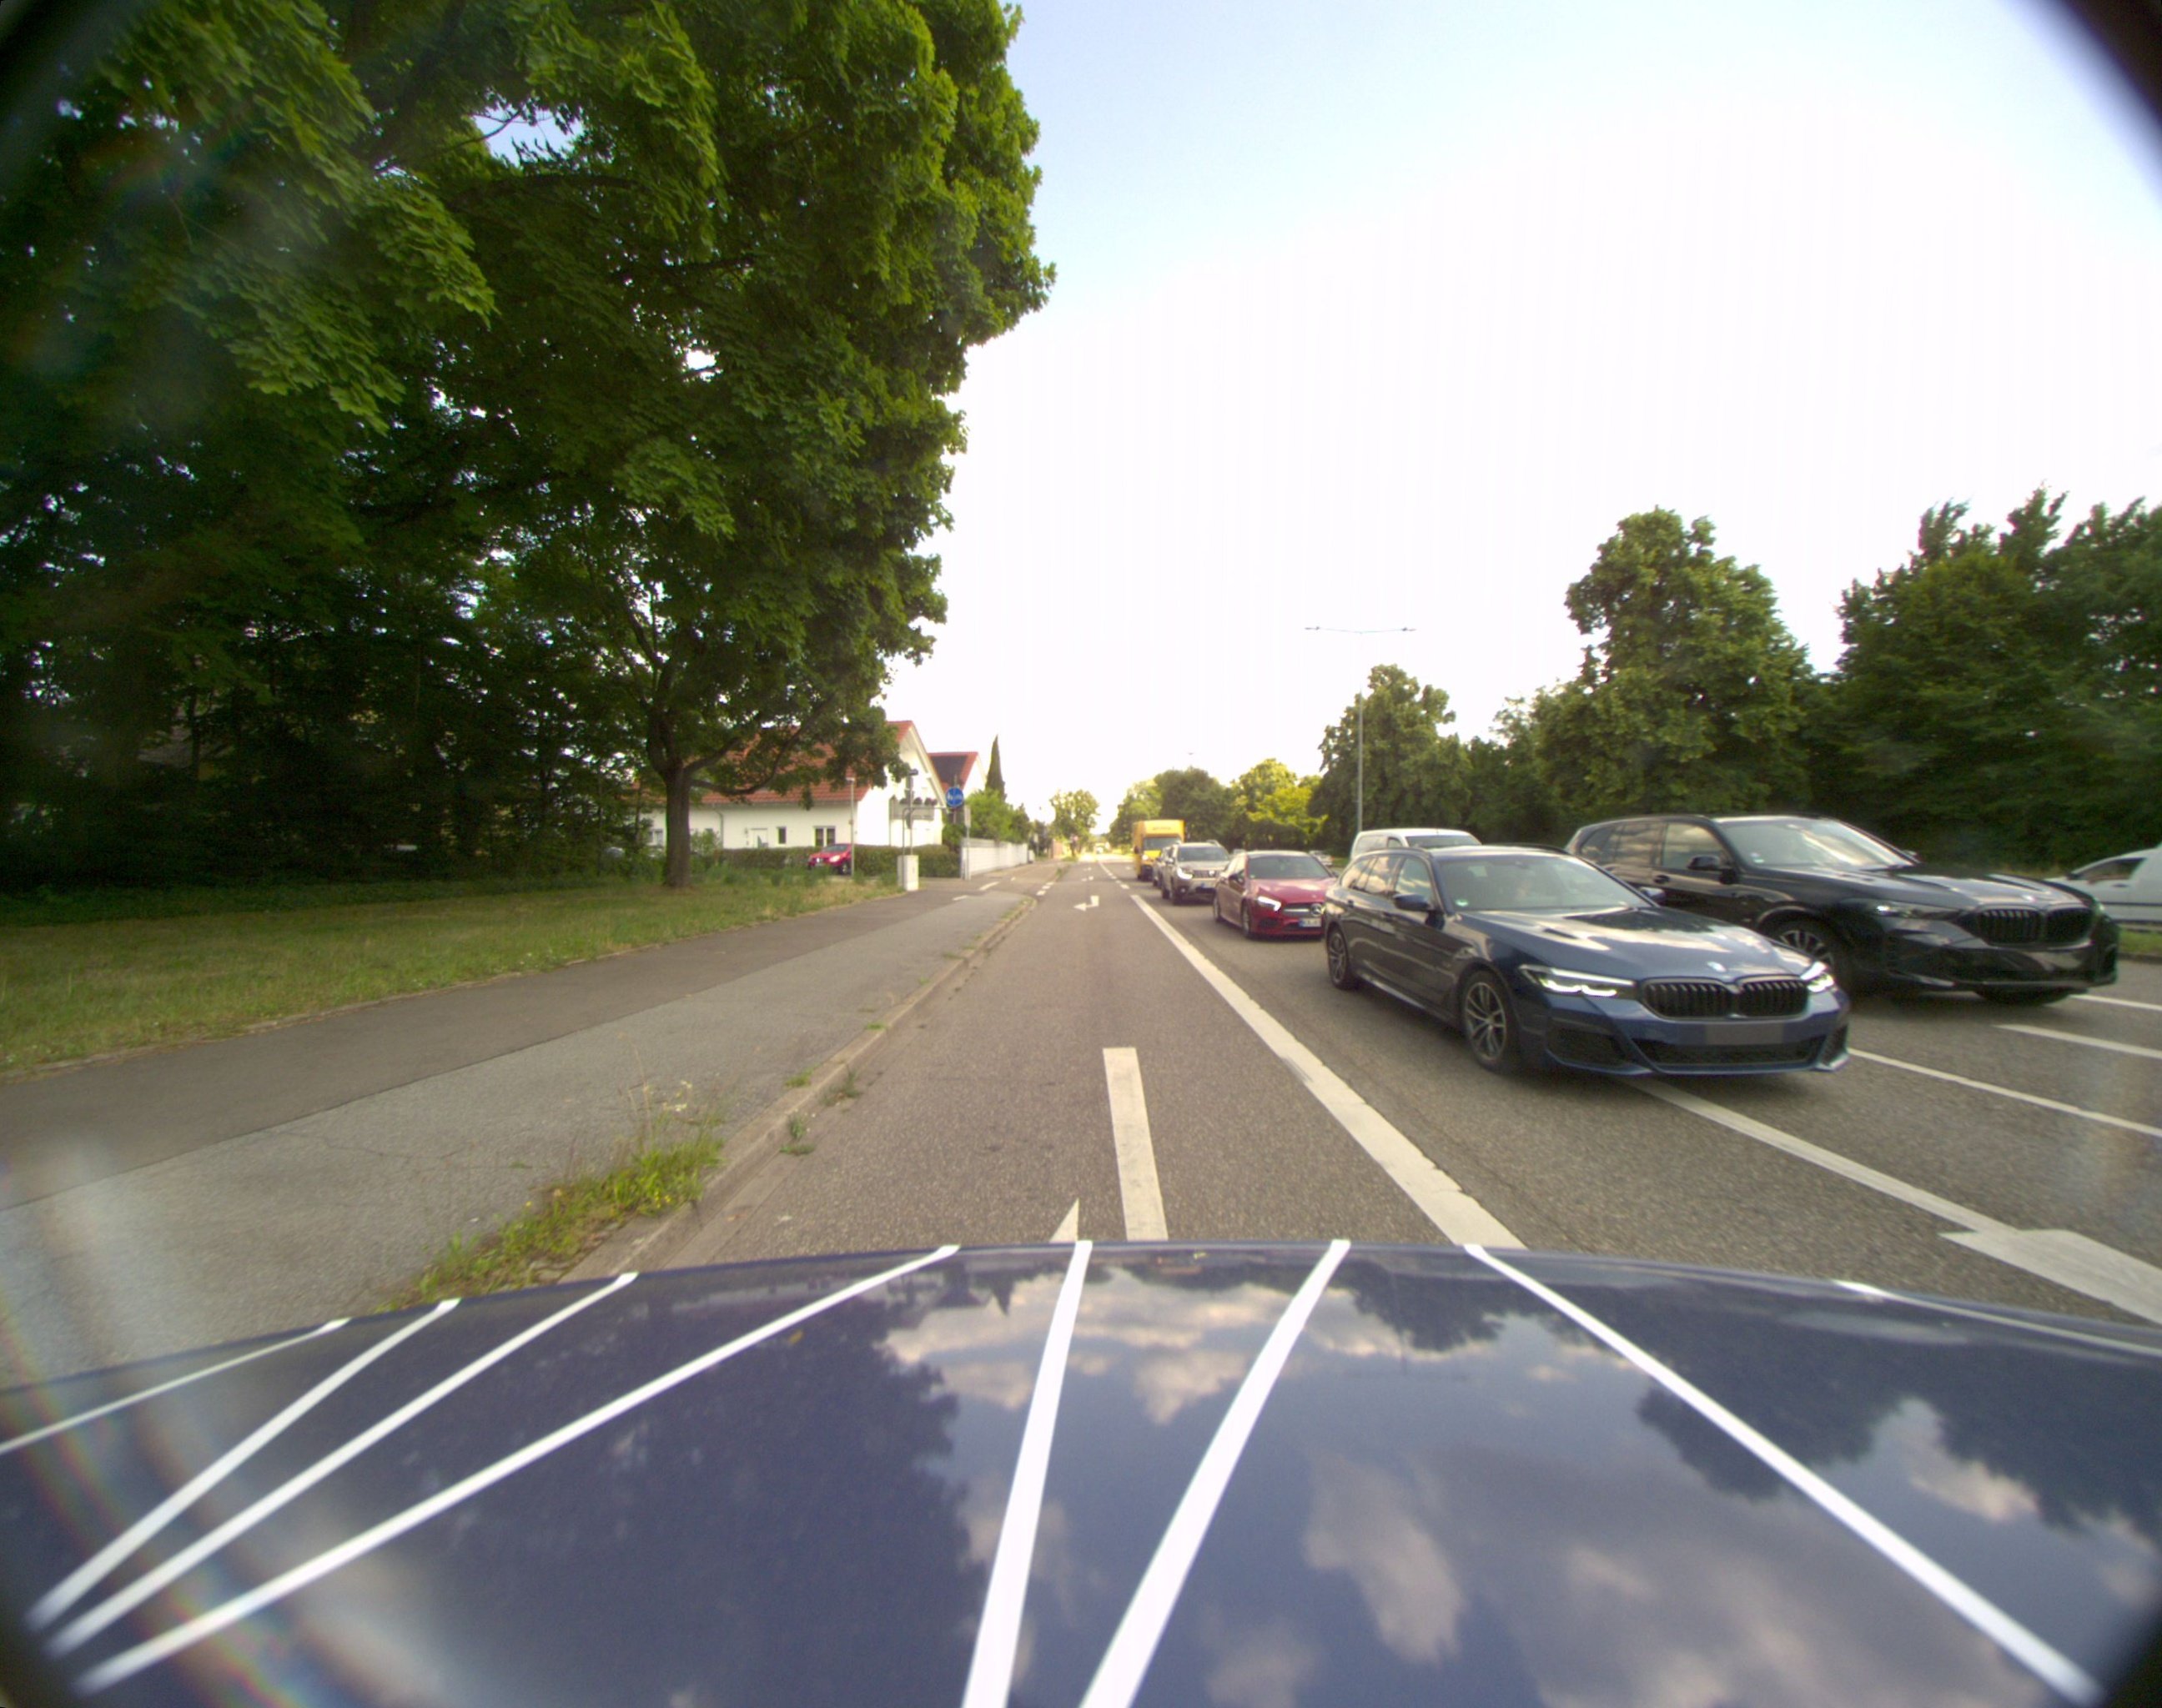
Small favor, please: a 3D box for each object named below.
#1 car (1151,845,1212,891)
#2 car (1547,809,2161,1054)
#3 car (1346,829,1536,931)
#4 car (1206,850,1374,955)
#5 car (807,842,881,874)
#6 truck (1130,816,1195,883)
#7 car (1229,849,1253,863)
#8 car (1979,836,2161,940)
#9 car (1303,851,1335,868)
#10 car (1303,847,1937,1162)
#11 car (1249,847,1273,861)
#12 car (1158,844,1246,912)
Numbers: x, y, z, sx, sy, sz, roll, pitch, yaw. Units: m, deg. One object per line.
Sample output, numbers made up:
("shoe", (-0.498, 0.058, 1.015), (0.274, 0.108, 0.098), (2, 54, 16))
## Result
("car", (3.642, 0.456, 28.124), (1.727, 1.522, 3.893), (-2, 1, 1))
("car", (7.029, 0.517, 7.743), (1.817, 1.736, 4.549), (-1, 1, 1))
("car", (7.234, 0.418, 15.882), (1.770, 1.788, 4.730), (-1, 1, 1))
("car", (3.458, 0.705, 13.448), (1.727, 1.454, 4.534), (-2, 1, 1))
("car", (-11.909, 0.193, 38.472), (1.679, 1.522, 4.397), (0, 0, 11))
("truck", (3.819, -0.233, 36.997), (2.363, 2.843, 6.965), (-2, 1, 1))
("car", (16.764, 0.189, 79.800), (1.672, 1.416, 4.237), (0, 1, 1))
("car", (19.535, 0.581, 13.692), (1.675, 1.783, 4.253), (-1, 1, 1))
("car", (19.884, 0.404, 63.583), (1.465, 1.363, 3.658), (0, 1, -1))
("car", (3.434, 0.740, 6.266), (1.801, 1.488, 4.872), (-2, 1, 1))
("car", (20.213, -0.018, 85.343), (1.672, 1.379, 4.237), (1, 1, 1))
("car", (3.152, 0.550, 20.577), (1.727, 1.603, 4.175), (-1, 1, 1))
